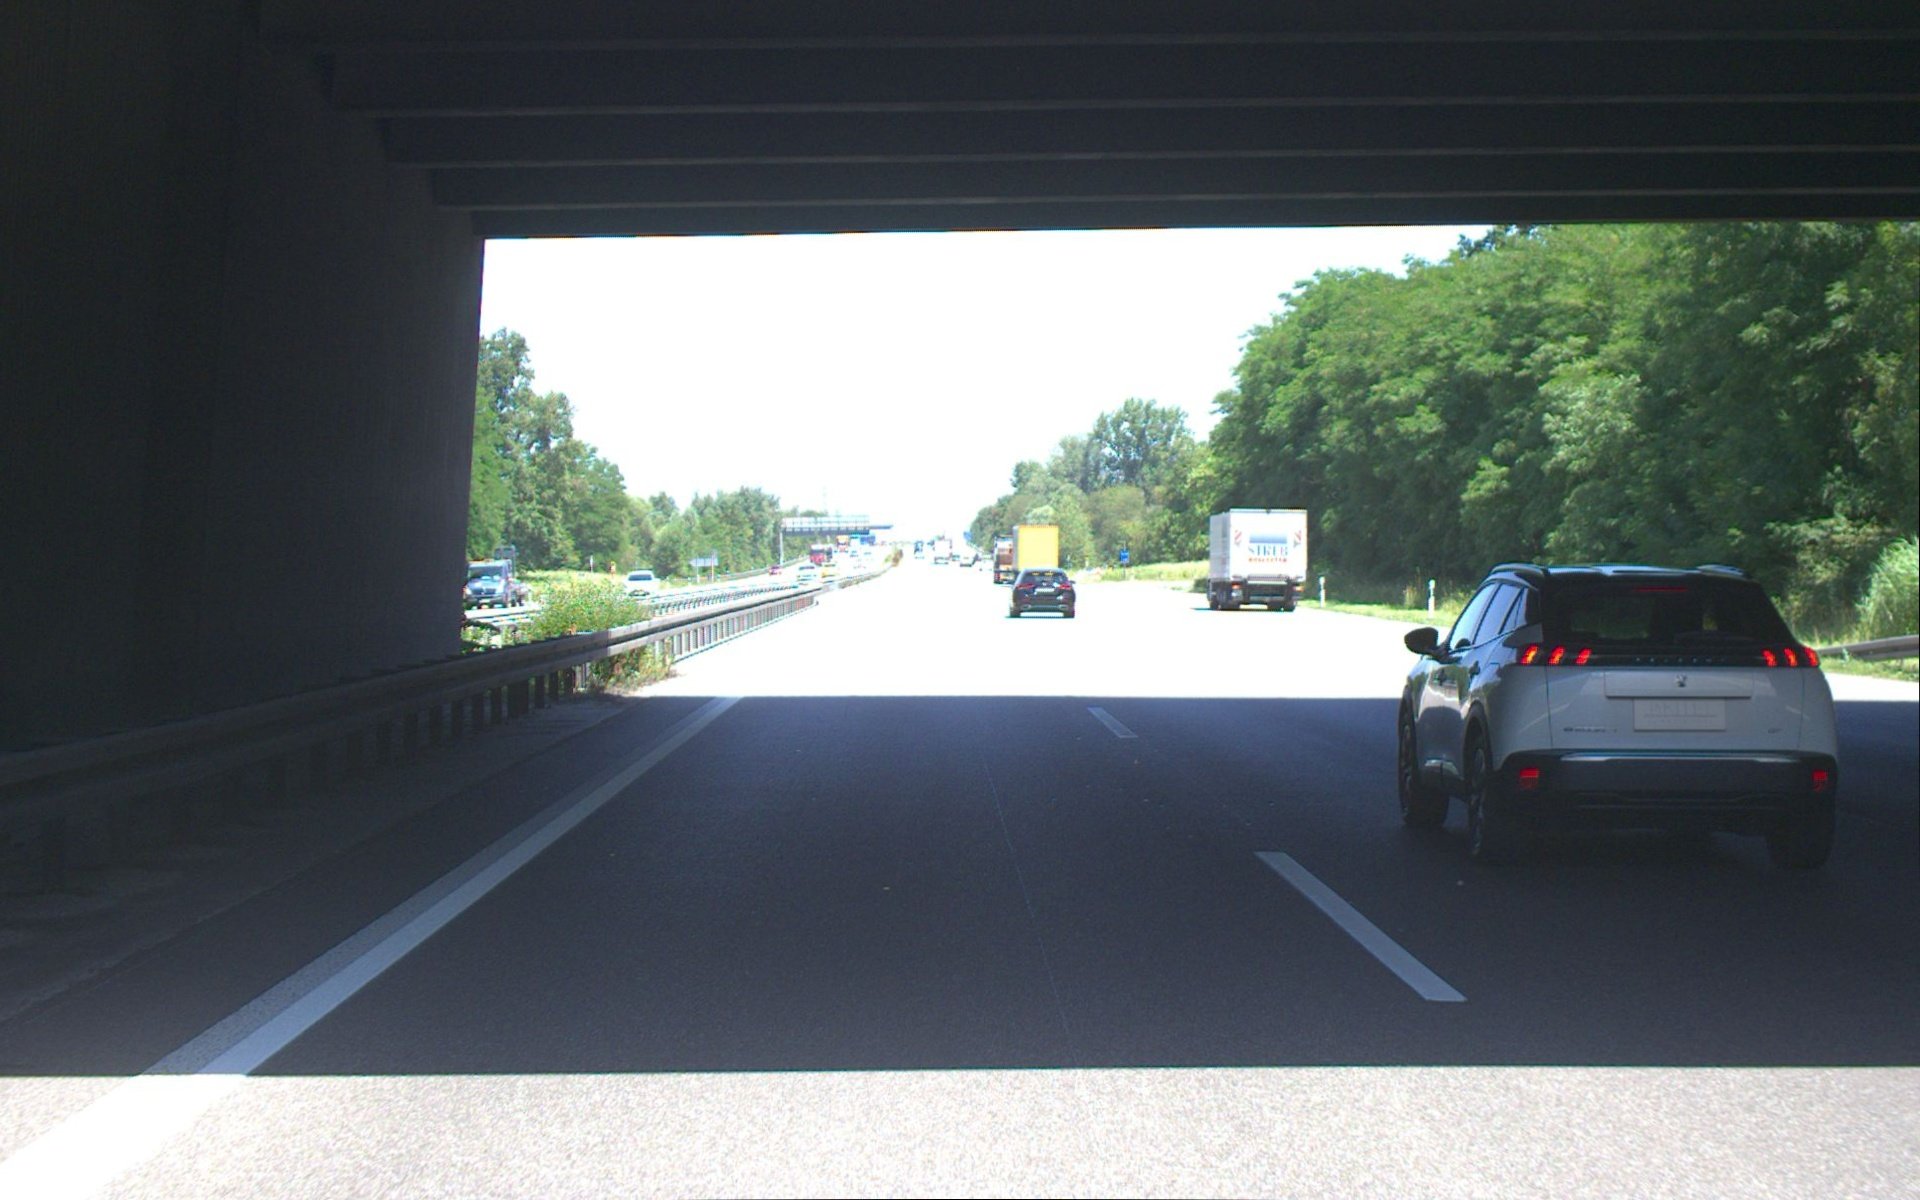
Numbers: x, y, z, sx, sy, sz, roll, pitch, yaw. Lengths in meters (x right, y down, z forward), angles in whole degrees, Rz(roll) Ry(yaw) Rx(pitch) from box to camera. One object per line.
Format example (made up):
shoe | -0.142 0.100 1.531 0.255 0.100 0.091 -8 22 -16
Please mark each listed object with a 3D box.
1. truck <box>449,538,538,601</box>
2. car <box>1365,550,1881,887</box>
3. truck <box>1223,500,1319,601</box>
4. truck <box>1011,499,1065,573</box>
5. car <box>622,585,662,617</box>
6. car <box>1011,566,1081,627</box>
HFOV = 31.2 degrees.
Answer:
truck | -23.288 -1.550 172.196 2.753 2.980 12.856 -1 1 -1
car | 3.442 0.541 18.787 1.827 1.602 4.809 0 1 -1
truck | 10.725 -1.679 119.407 3.028 3.308 10.769 1 1 4
truck | 5.232 -4.300 233.910 3.377 4.864 15.086 1 1 0
car | -16.266 0.044 175.961 1.688 1.539 4.204 1 1 -1
car | 2.447 -0.113 98.193 1.827 1.700 4.000 1 1 -1
